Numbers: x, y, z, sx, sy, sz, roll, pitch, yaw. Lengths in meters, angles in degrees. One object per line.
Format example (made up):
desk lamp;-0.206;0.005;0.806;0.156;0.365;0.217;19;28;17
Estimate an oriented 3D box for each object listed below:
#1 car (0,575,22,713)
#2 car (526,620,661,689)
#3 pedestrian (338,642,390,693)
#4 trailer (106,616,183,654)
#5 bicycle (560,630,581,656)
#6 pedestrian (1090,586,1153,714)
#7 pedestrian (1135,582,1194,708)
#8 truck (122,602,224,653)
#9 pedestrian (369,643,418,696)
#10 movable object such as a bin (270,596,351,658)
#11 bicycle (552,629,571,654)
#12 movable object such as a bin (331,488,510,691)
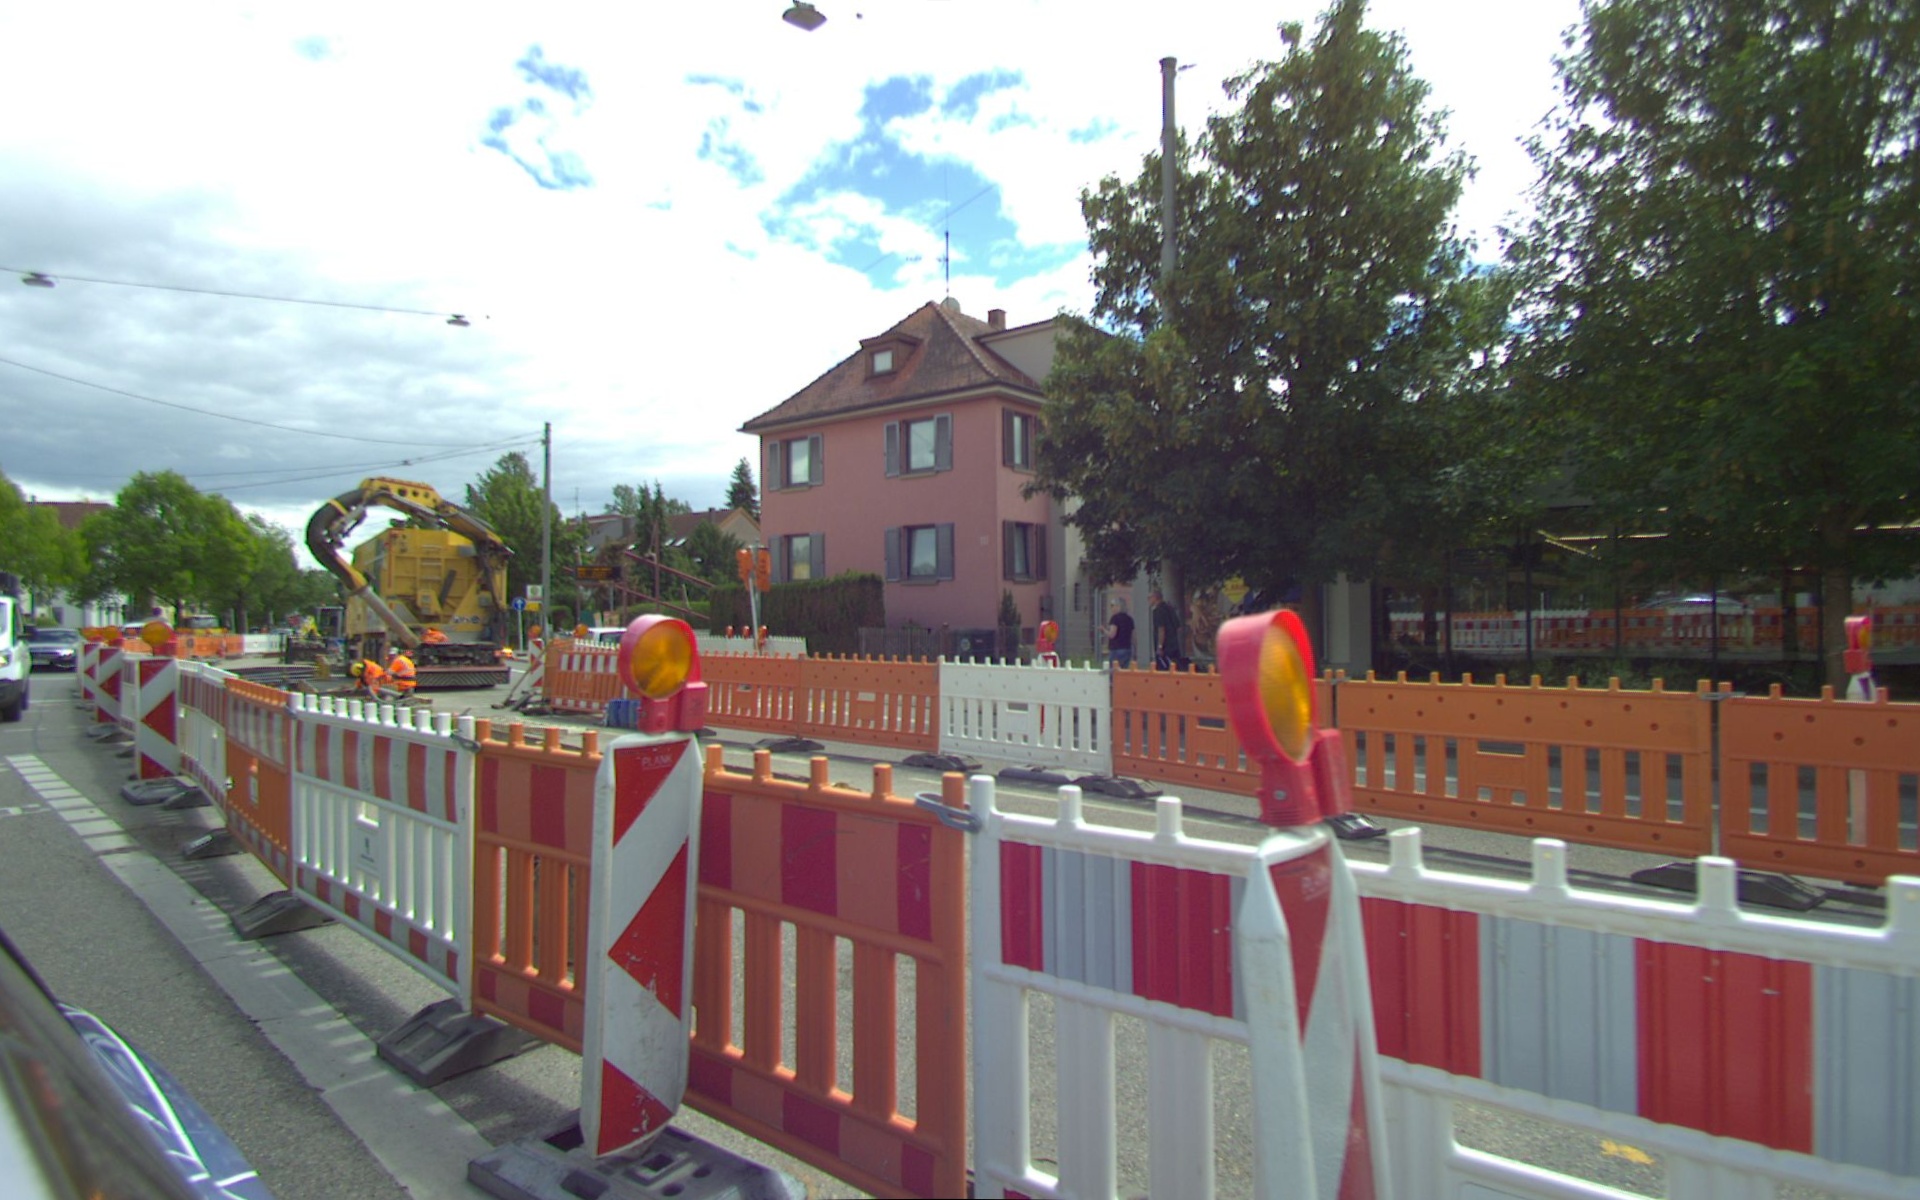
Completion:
car;-16.646;0.703;16.298;5.515;2.029;1.971;-1;0;44
car;-8.838;1.233;24.196;1.831;1.464;4.007;-1;0;-39
pedestrian;-12.101;1.357;20.570;0.779;0.998;0.814;0;-2;-22
trailer;-53.893;2.286;67.021;2.556;2.262;5.692;-3;0;-24
bicycle;-16.851;1.841;43.787;0.530;1.091;2.138;1;-2;-29
pedestrian;2.423;0.736;15.192;0.685;1.861;0.624;0;-1;-22
pedestrian;3.108;0.672;15.421;0.616;1.861;0.624;0;-1;-22
truck;-57.515;1.995;73.982;6.569;3.223;2.331;-4;-3;15
pedestrian;-11.127;1.364;19.913;0.632;0.998;0.795;0;-2;-12
movable object such as a bin;-29.998;1.235;46.940;1.965;2.645;6.543;1;-2;-22
bicycle;-18.239;1.887;46.281;0.530;1.091;2.138;1;-2;-29
movable object such as a bin;-14.448;-0.096;26.482;2.557;4.253;11.146;1;-2;-36
